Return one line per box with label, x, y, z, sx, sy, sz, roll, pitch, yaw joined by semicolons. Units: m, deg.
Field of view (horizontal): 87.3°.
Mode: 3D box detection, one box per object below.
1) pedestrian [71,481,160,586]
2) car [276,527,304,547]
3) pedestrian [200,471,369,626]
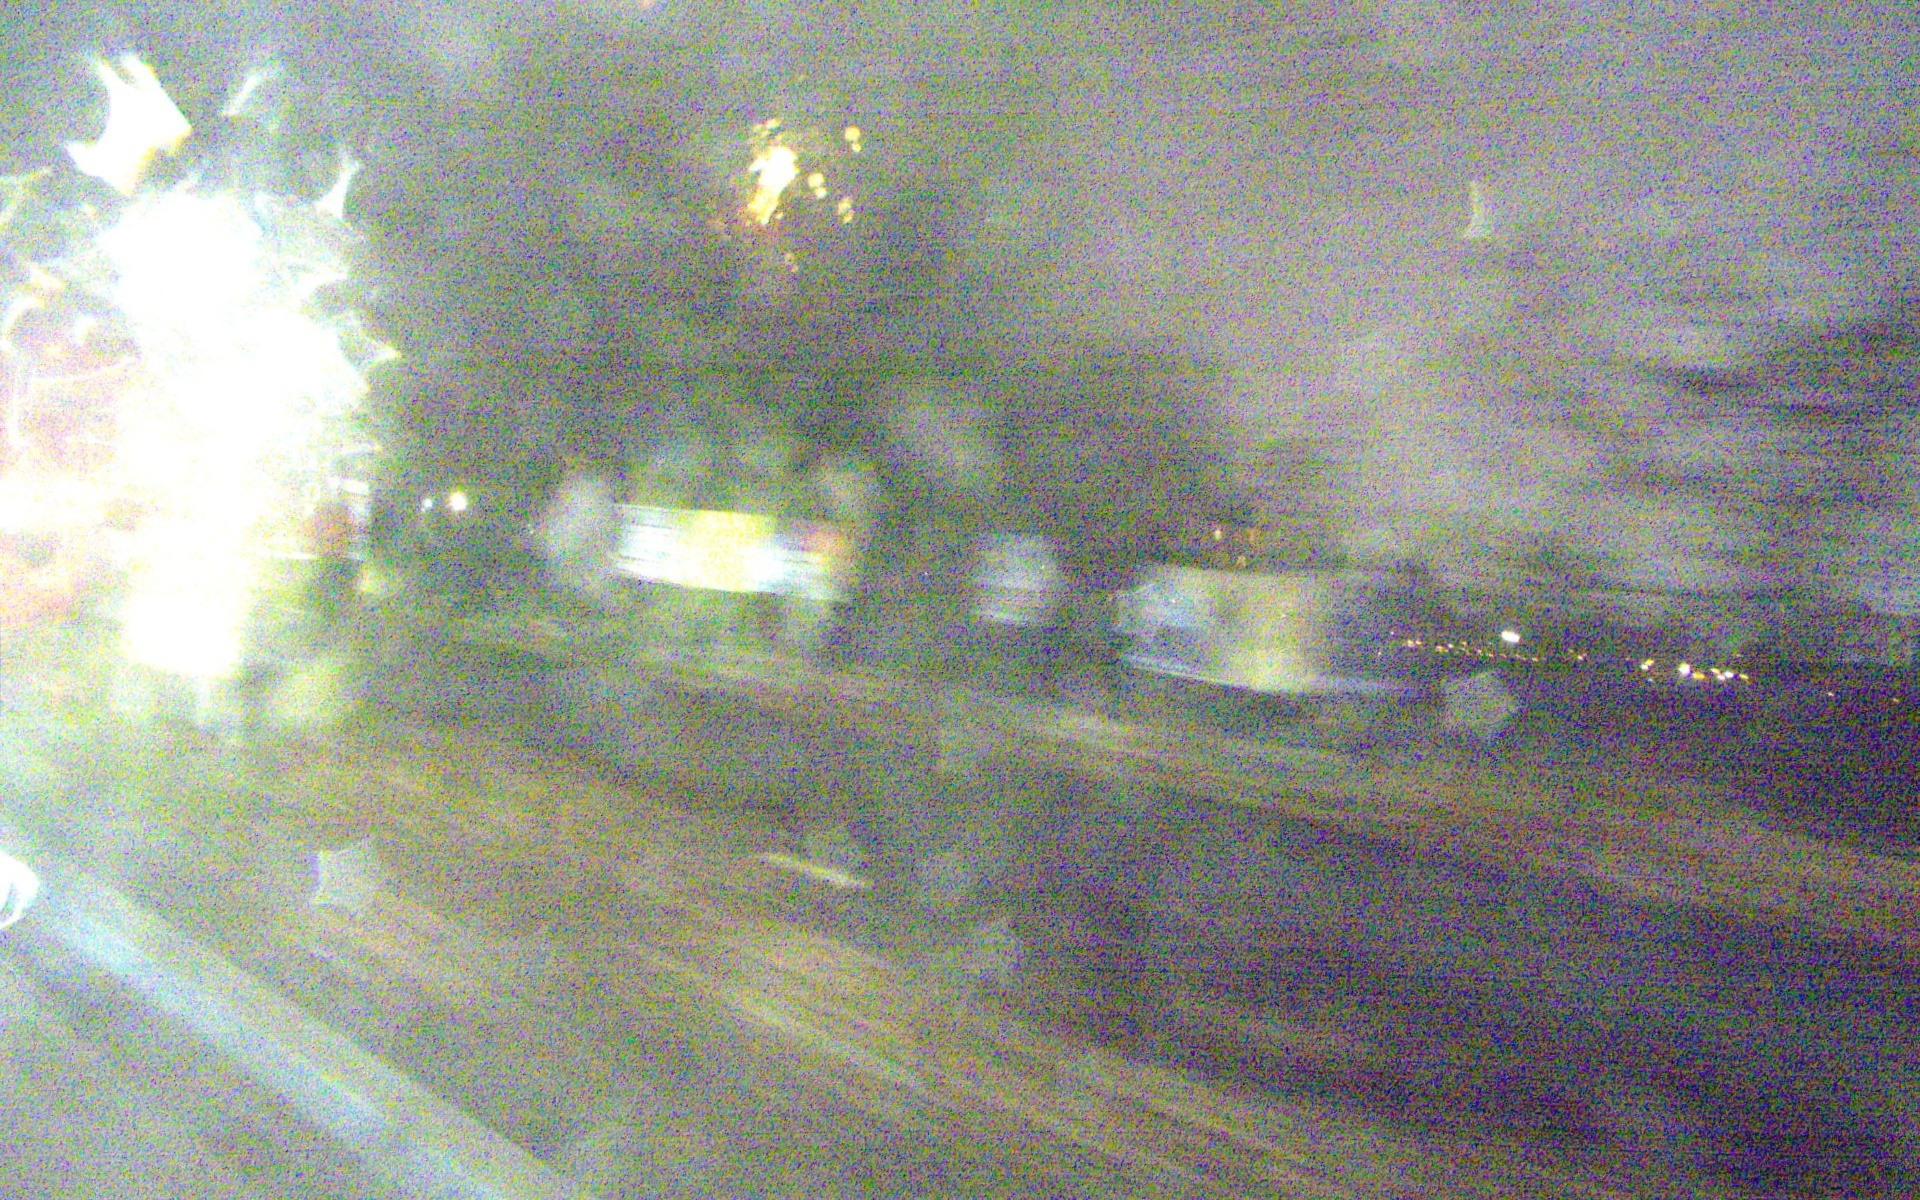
pedestrian;-13.246;-1.039;15.790;0.822;1.503;0.727;7;0;31
car;-60.367;-5.707;90.688;1.703;1.515;3.881;8;-1;-30
pedestrian;-9.028;-0.682;13.456;1.465;1.815;1.229;7;0;31
